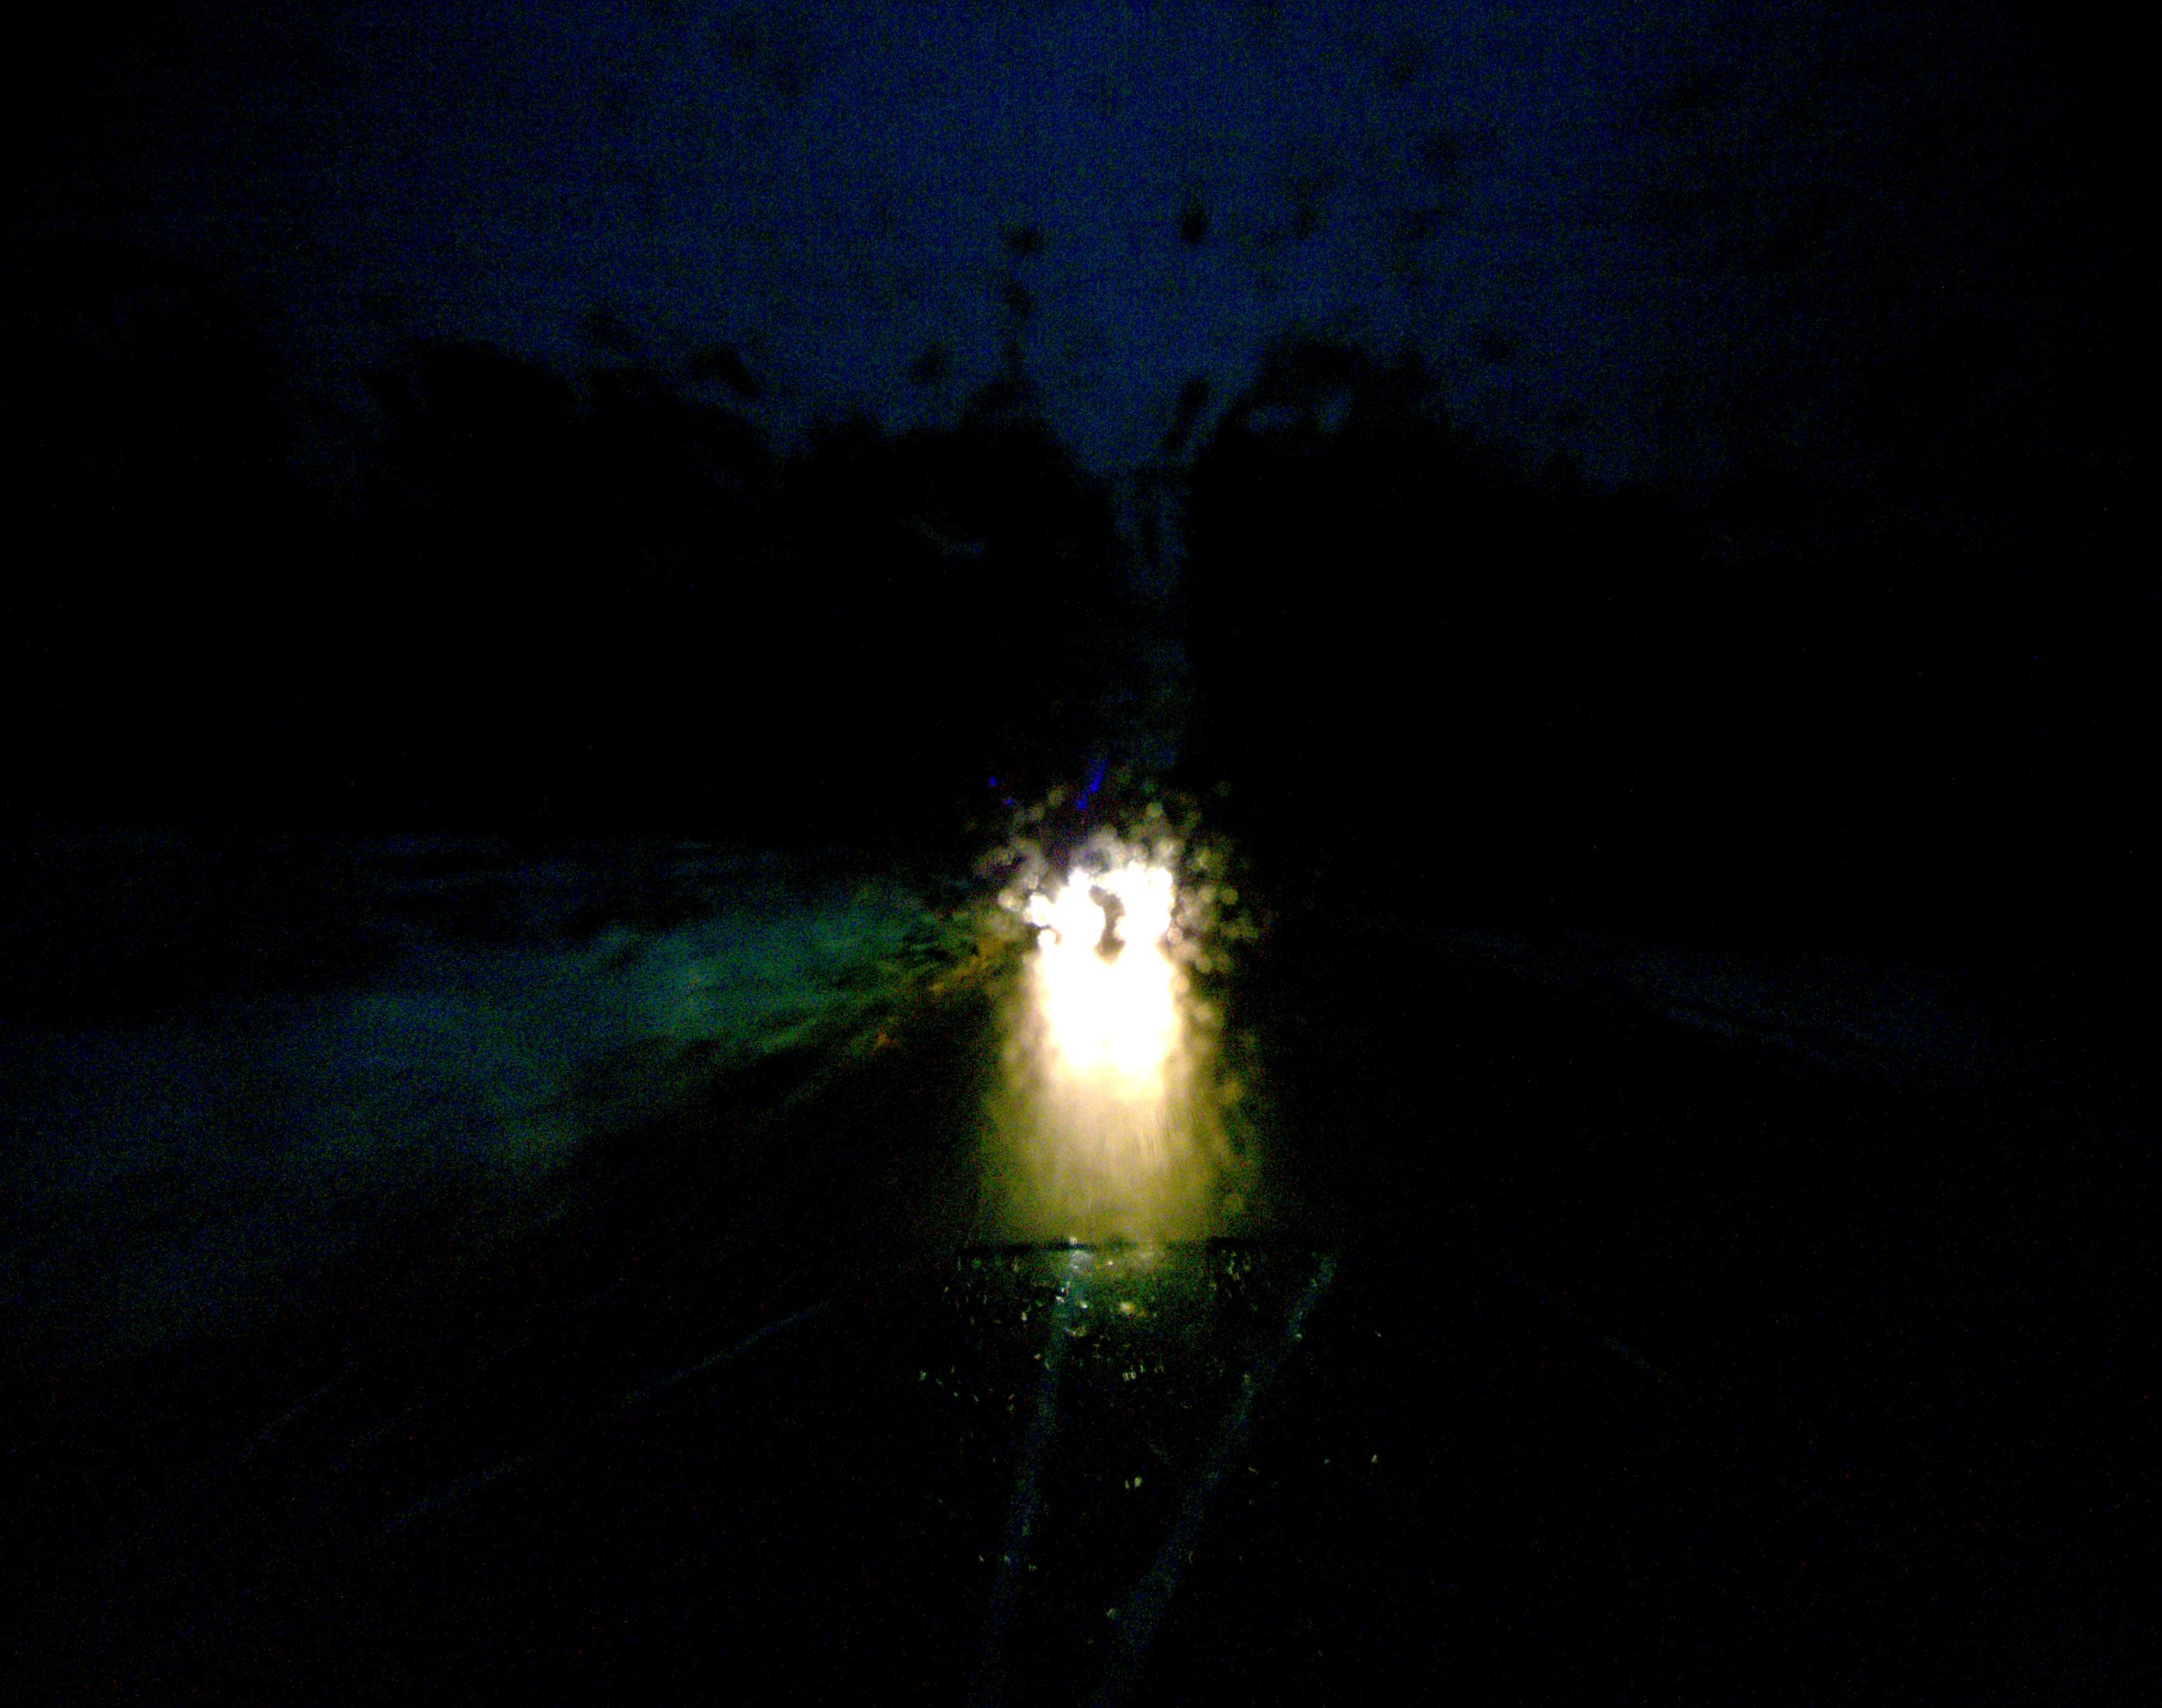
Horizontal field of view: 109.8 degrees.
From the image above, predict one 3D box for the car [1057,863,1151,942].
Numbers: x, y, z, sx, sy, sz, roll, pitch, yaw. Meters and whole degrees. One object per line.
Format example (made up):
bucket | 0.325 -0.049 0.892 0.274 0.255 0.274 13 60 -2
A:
car | 0.606 0.969 16.487 1.649 1.446 3.683 -2 -1 7
